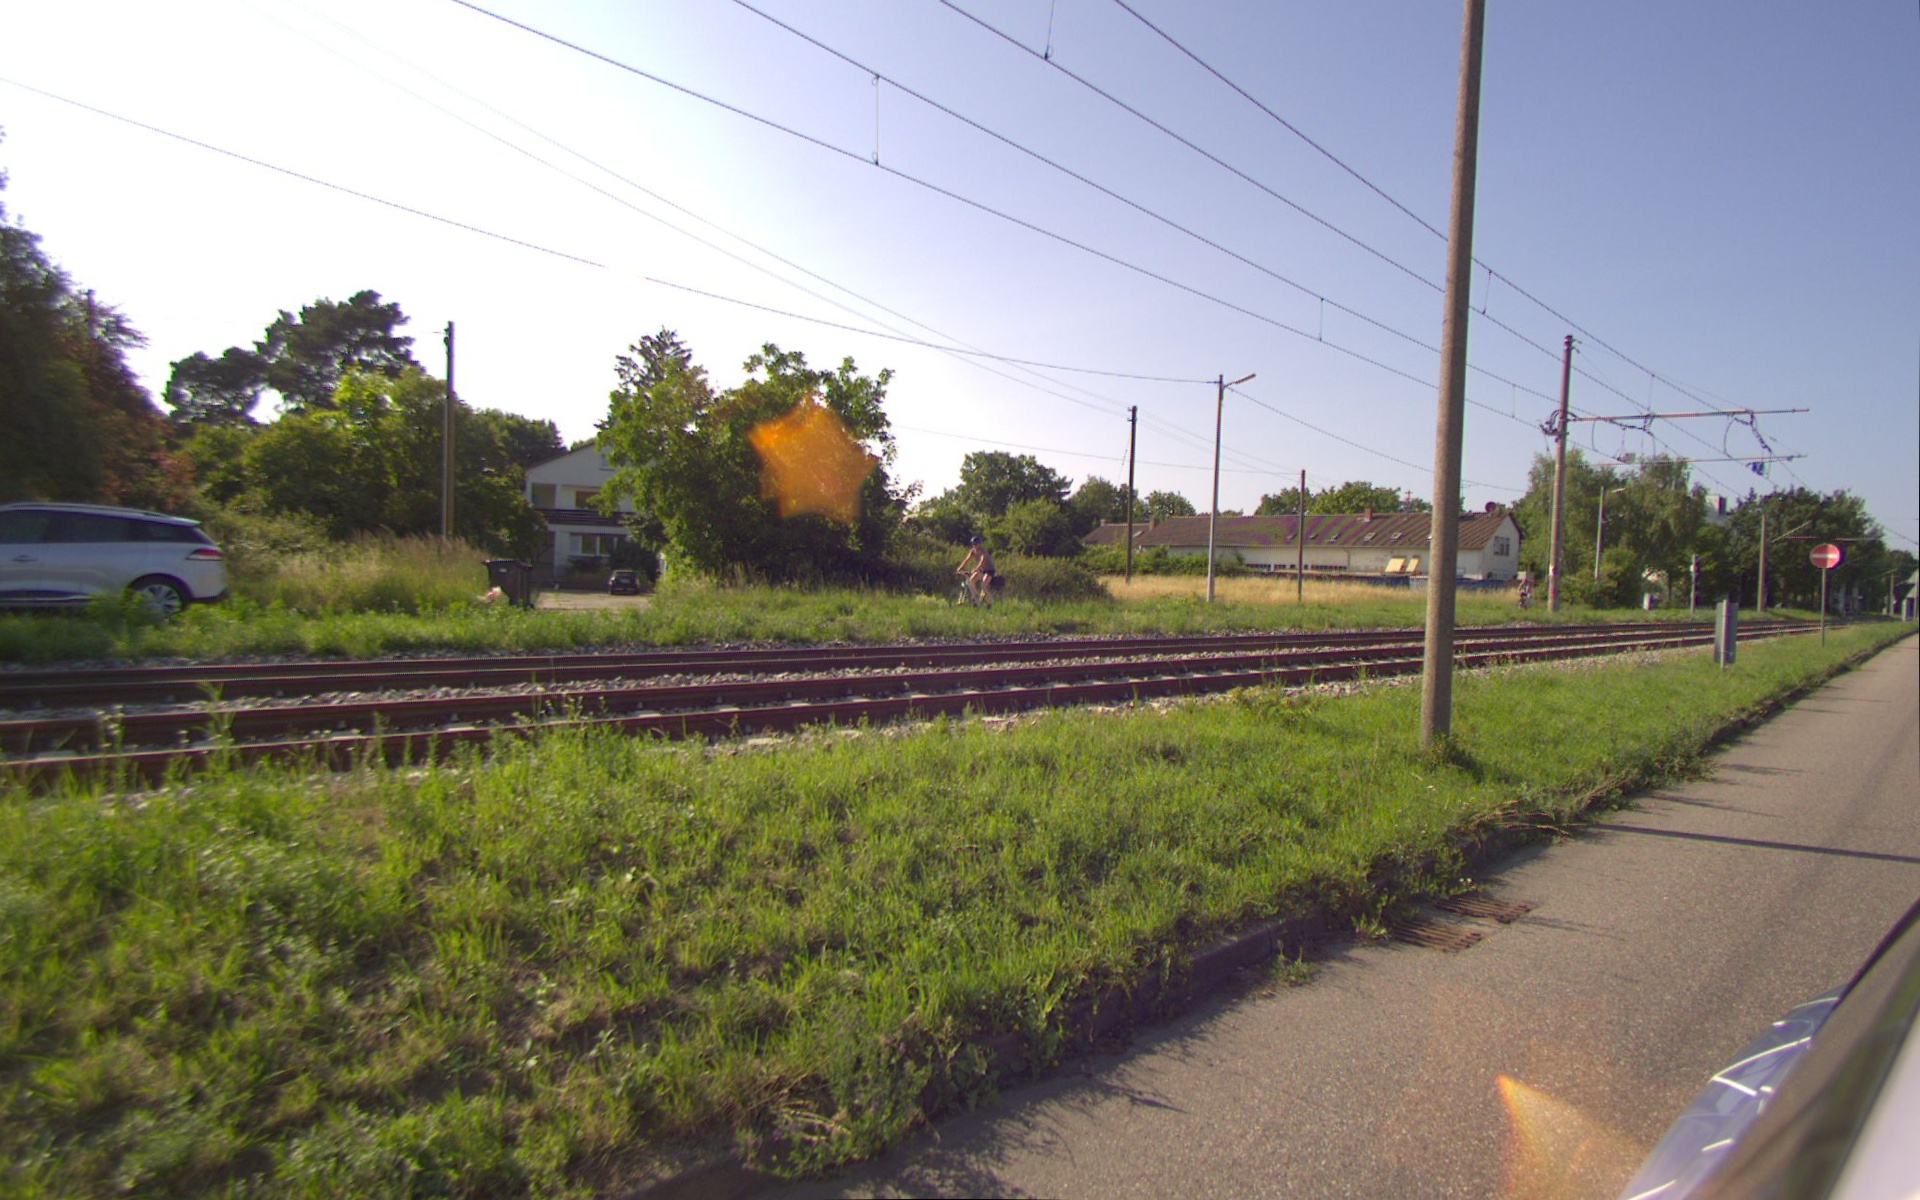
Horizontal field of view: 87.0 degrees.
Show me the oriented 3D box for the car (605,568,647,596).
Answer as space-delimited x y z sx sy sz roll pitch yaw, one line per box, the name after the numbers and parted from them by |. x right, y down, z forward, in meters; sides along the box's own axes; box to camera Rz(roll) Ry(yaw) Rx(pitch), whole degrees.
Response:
-19.609 -1.045 59.285 1.958 1.538 4.008 1 0 -23 | car

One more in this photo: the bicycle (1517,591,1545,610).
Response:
28.596 0.027 50.639 1.781 0.921 0.644 1 0 -41 | bicycle

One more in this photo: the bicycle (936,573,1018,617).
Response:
0.386 -0.112 22.207 1.811 0.921 0.644 1 1 -41 | bicycle

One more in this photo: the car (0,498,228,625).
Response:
-11.525 -0.485 12.333 4.061 1.466 1.536 1 2 -43 | car

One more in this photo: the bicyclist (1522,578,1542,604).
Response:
28.610 -0.449 50.641 0.777 1.248 0.640 1 0 -41 | bicyclist

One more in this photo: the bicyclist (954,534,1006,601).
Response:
0.443 -0.702 22.244 0.945 1.440 0.630 1 0 -40 | bicyclist
